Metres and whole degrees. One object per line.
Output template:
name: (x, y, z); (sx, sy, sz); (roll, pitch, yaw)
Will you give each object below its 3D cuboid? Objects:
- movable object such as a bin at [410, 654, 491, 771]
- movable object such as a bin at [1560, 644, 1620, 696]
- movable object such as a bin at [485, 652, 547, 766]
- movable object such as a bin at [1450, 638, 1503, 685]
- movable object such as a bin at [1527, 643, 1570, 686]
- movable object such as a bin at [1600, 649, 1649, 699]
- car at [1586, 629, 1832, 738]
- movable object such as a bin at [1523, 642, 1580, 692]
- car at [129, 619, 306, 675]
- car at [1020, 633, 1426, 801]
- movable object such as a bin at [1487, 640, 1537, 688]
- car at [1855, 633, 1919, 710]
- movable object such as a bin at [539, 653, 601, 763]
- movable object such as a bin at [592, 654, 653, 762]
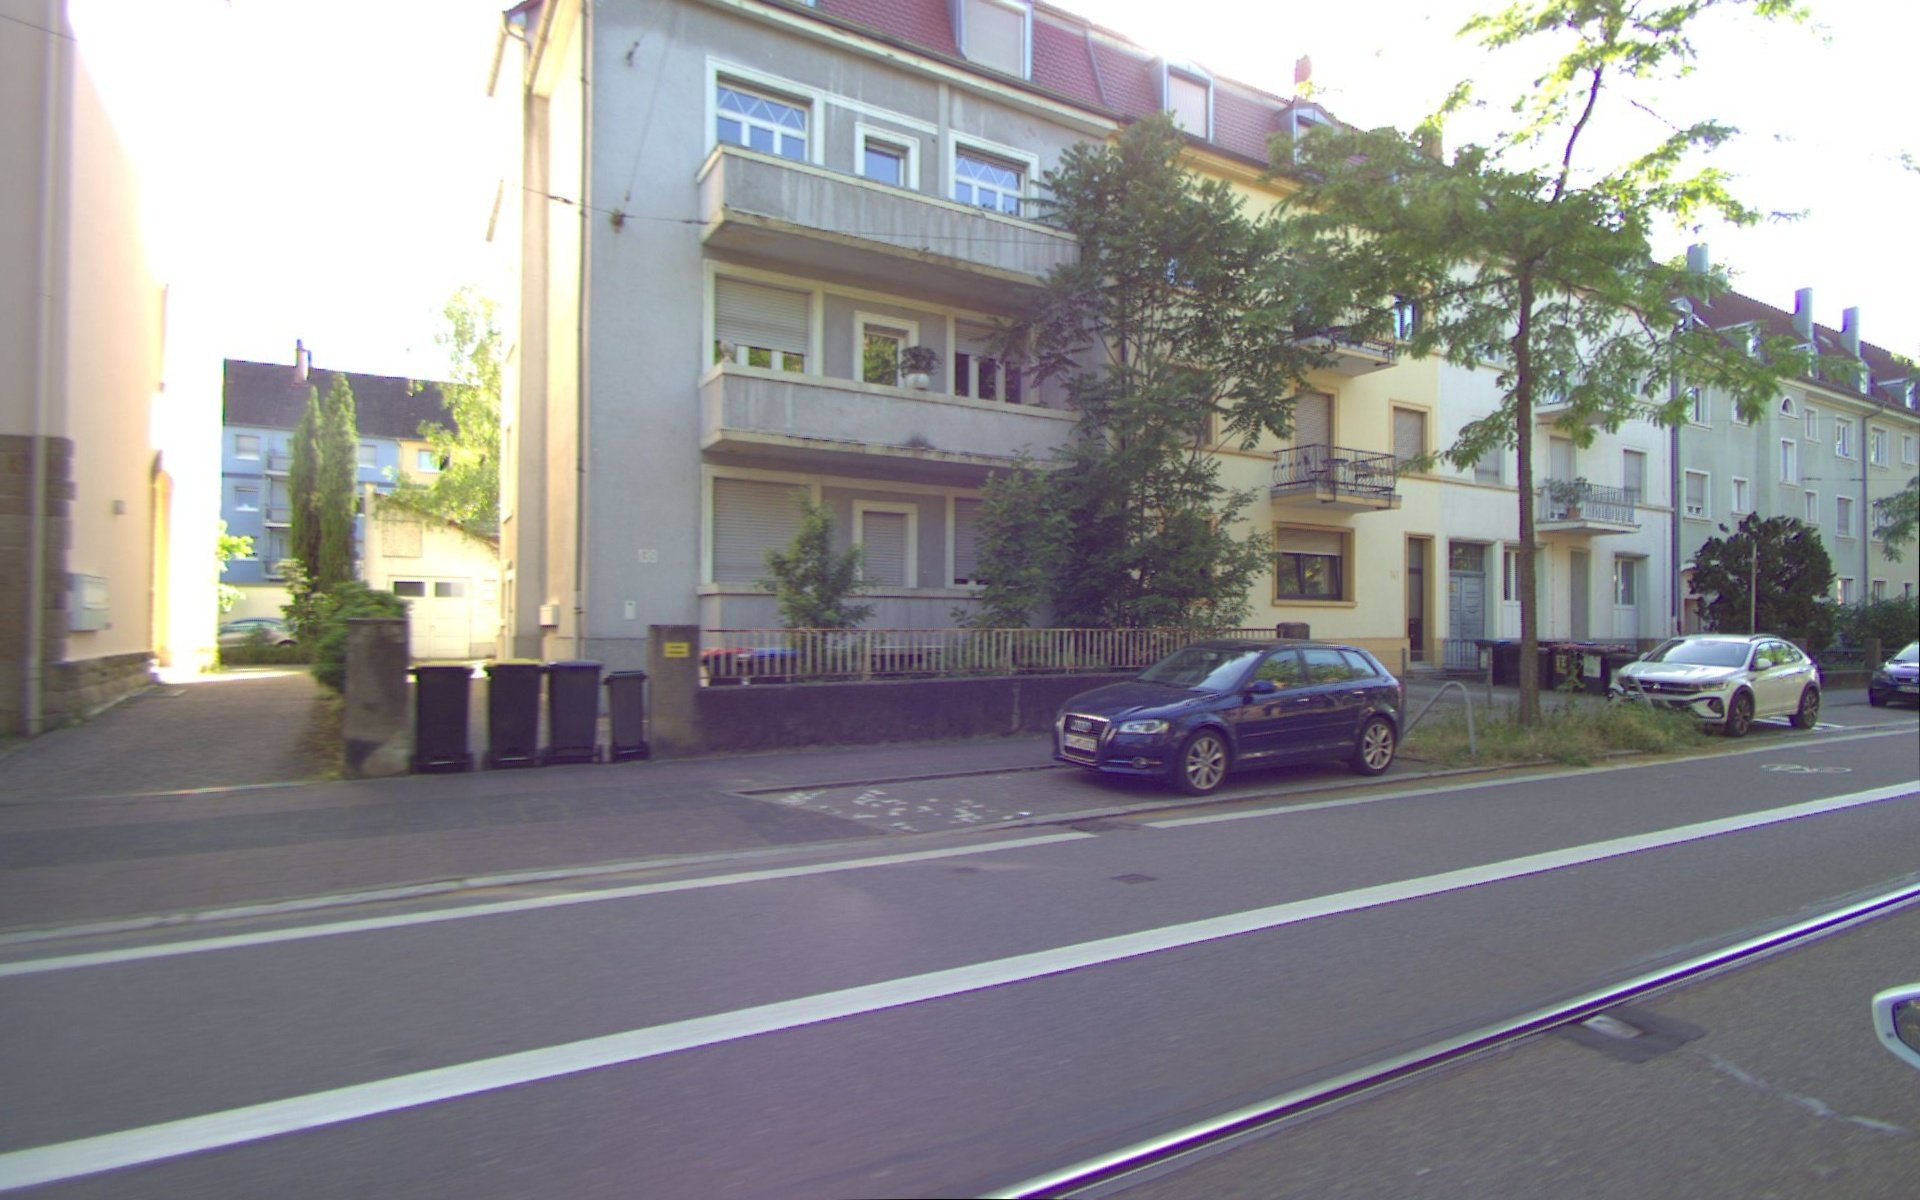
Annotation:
movable object such as a bin: (-4.971, 1.072, 9.788); (0.662, 1.080, 0.538); (1, -2, -30)
movable object such as a bin: (13.779, 1.520, 21.967); (0.723, 1.060, 0.841); (1, 1, -27)
movable object such as a bin: (-4.465, 1.075, 10.092); (0.504, 1.080, 0.544); (1, -2, -30)
movable object such as a bin: (12.433, 1.464, 24.178); (0.723, 1.060, 0.841); (1, 1, -27)
movable object such as a bin: (13.965, 1.526, 23.840); (0.723, 0.989, 0.557); (1, 1, -27)
movable object such as a bin: (14.104, 1.561, 21.330); (0.723, 0.989, 0.557); (1, 1, -27)
car: (12.390, 1.285, 16.547); (4.322, 1.531, 1.807); (1, 0, -32)
movable object such as a bin: (13.378, 1.499, 22.729); (0.723, 1.060, 0.841); (1, 1, -27)
car: (-21.550, 1.361, 29.351); (3.953, 1.537, 1.560); (1, -1, -30)
car: (2.878, 1.095, 10.681); (4.285, 1.425, 1.696); (1, 0, -32)
movable object such as a bin: (12.849, 1.481, 23.382); (0.723, 1.060, 0.705); (1, 1, -27)
car: (21.383, 1.521, 21.809); (4.389, 1.531, 1.748); (1, 0, -32)
movable object such as a bin: (-4.022, 1.093, 10.350); (0.504, 1.080, 0.544); (1, -2, -30)
movable object such as a bin: (-3.573, 1.119, 10.618); (0.504, 1.080, 0.534); (1, -2, -30)
